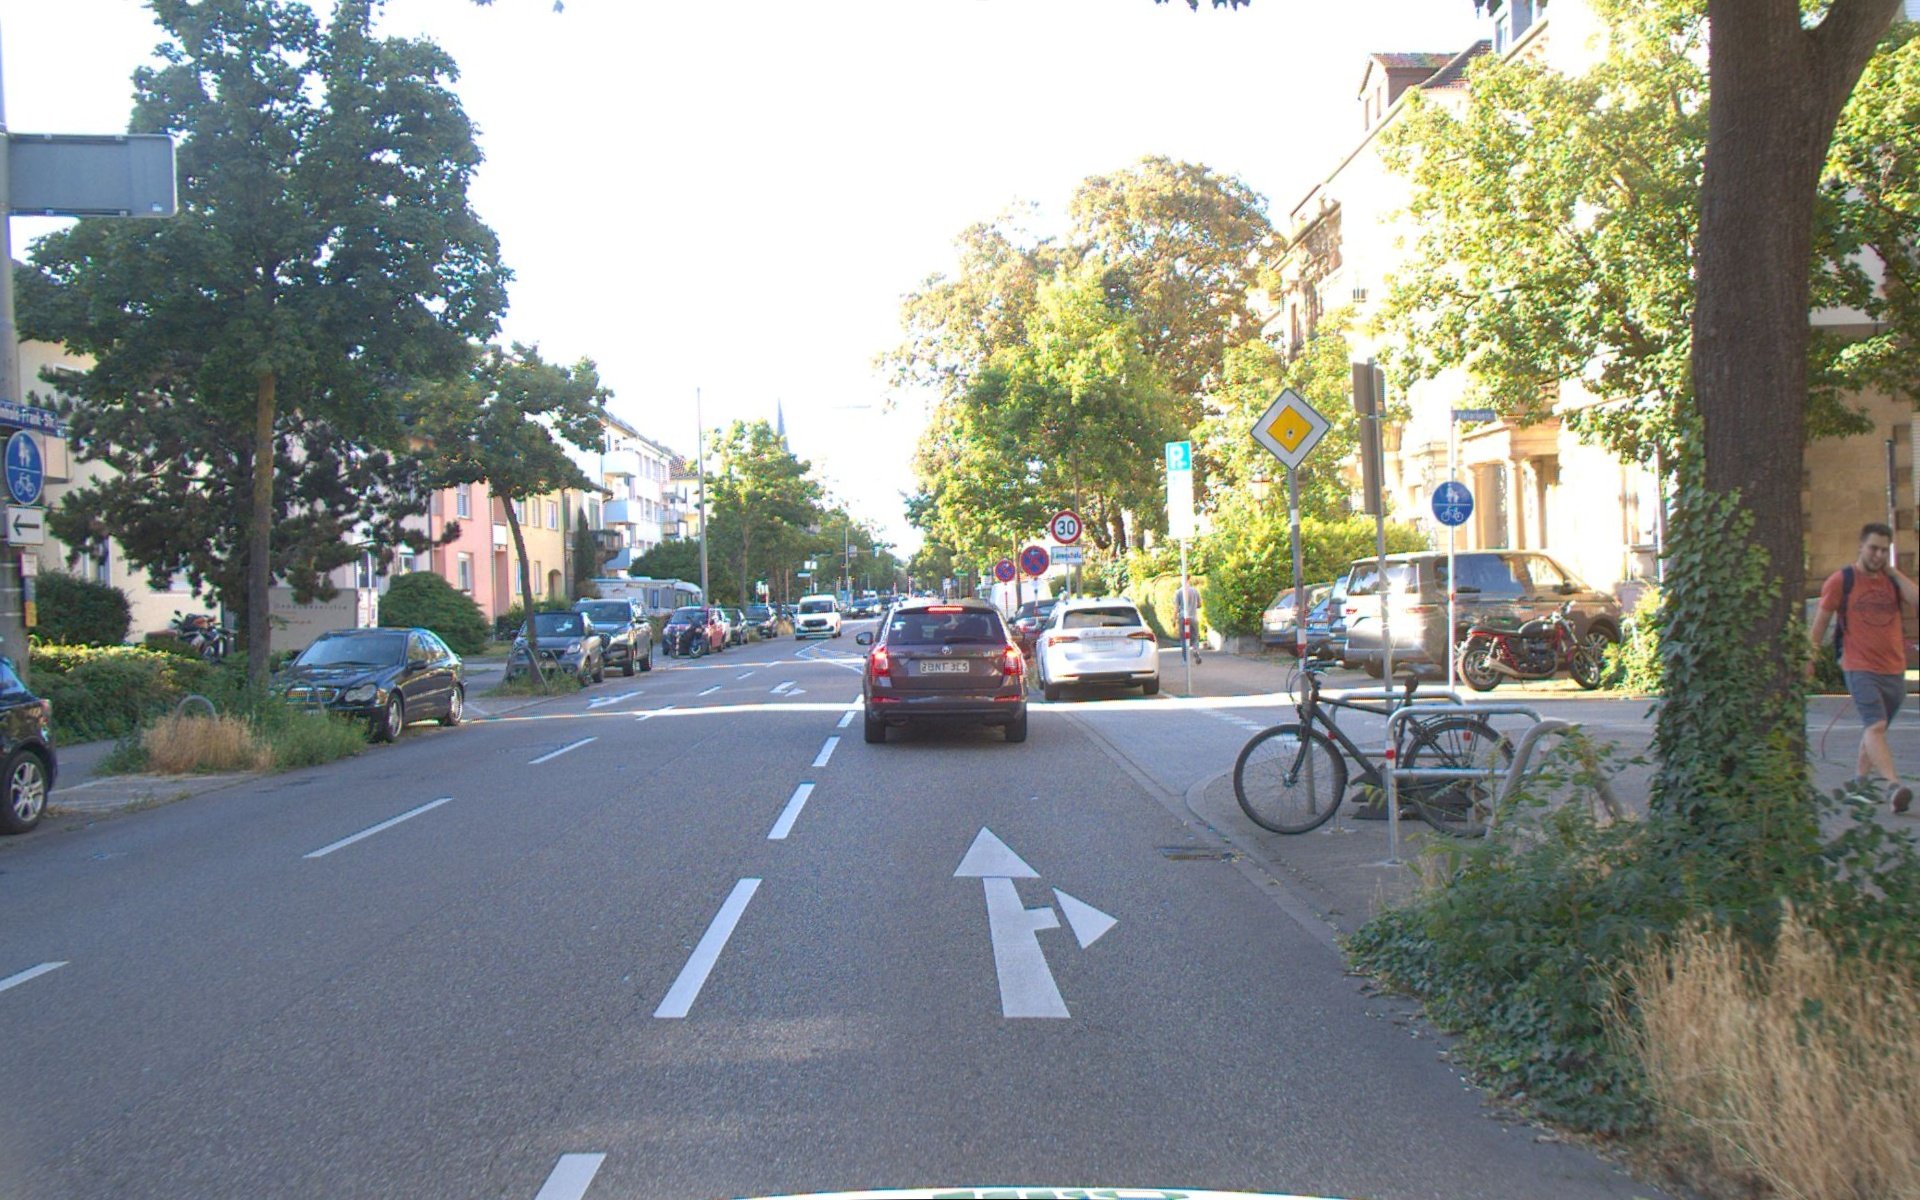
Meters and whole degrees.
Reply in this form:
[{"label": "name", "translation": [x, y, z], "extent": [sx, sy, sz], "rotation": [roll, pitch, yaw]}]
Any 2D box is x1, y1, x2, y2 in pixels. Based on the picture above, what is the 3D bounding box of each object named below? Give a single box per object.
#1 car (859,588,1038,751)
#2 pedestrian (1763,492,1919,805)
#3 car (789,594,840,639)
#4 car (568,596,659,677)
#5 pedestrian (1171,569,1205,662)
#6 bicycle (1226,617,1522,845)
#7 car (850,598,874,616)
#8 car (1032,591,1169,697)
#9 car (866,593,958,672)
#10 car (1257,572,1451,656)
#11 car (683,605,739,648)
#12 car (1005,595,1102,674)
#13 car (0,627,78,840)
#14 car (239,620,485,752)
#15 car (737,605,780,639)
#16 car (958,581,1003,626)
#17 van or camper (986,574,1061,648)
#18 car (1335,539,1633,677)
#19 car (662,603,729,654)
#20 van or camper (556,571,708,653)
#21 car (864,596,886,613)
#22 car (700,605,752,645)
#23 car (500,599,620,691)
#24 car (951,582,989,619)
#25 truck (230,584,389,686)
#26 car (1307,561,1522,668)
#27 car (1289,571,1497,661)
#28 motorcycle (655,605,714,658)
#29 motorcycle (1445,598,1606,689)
[{"label": "car", "translation": [-0.137, 0.665, 18.086], "extent": [1.694, 1.520, 3.950], "rotation": [-2, 1, -1]}, {"label": "pedestrian", "translation": [5.593, 0.277, 10.201], "extent": [0.741, 1.827, 0.905], "rotation": [-2, 0, -6]}, {"label": "car", "translation": [-6.216, 0.661, 70.991], "extent": [1.839, 1.788, 4.177], "rotation": [-2, 1, -2]}, {"label": "car", "translation": [-8.375, 0.848, 40.190], "extent": [1.476, 1.788, 3.692], "rotation": [-2, 1, -2]}, {"label": "pedestrian", "translation": [4.554, 0.310, 33.054], "extent": [0.524, 1.825, 0.687], "rotation": [-2, 0, 0]}, {"label": "bicycle", "translation": [2.511, 0.796, 10.150], "extent": [1.635, 1.247, 0.636], "rotation": [-4, 0, 11]}, {"label": "car", "translation": [-8.551, 0.617, 144.705], "extent": [1.953, 1.534, 3.999], "rotation": [-2, 0, -1]}, {"label": "car", "translation": [2.115, 0.625, 25.901], "extent": [1.783, 1.437, 4.111], "rotation": [-2, 1, 0]}, {"label": "car", "translation": [-1.072, 0.652, 35.412], "extent": [1.696, 1.520, 3.946], "rotation": [-2, 1, -5]}, {"label": "car", "translation": [8.138, 0.275, 34.147], "extent": [3.749, 1.552, 1.501], "rotation": [-2, 0, -24]}, {"label": "car", "translation": [-9.173, 0.950, 61.155], "extent": [1.631, 1.457, 3.274], "rotation": [-2, 1, -2]}, {"label": "car", "translation": [1.872, 0.666, 34.280], "extent": [1.783, 1.437, 4.111], "rotation": [-2, 1, 0]}, {"label": "car", "translation": [-7.868, 1.031, 11.063], "extent": [1.682, 1.523, 4.246], "rotation": [-2, 1, -1]}, {"label": "car", "translation": [-7.913, 1.077, 22.350], "extent": [1.718, 1.445, 4.425], "rotation": [-2, 1, -1]}, {"label": "car", "translation": [-9.350, 1.012, 76.969], "extent": [1.631, 1.457, 3.274], "rotation": [-2, 1, -2]}, {"label": "car", "translation": [0.861, 0.125, 73.069], "extent": [1.695, 1.846, 3.948], "rotation": [-2, 1, -3]}, {"label": "van or camper", "translation": [1.868, 0.295, 49.798], "extent": [1.953, 2.049, 3.999], "rotation": [-2, 1, -1]}, {"label": "car", "translation": [8.269, 0.083, 26.029], "extent": [4.484, 1.926, 1.896], "rotation": [-2, 0, -29]}, {"label": "car", "translation": [-8.831, 0.920, 55.475], "extent": [1.631, 1.538, 4.177], "rotation": [-2, 1, -2]}, {"label": "van or camper", "translation": [-17.086, 0.603, 86.472], "extent": [7.489, 3.942, 1.999], "rotation": [-2, 0, -4]}, {"label": "car", "translation": [-8.142, 0.434, 158.065], "extent": [1.953, 1.534, 3.999], "rotation": [-2, 0, -1]}, {"label": "car", "translation": [-9.255, 0.958, 65.698], "extent": [1.631, 1.457, 3.274], "rotation": [-2, 1, -2]}, {"label": "car", "translation": [-8.529, 0.916, 35.519], "extent": [1.715, 1.771, 3.590], "rotation": [-2, 1, -1]}, {"label": "car", "translation": [0.514, -0.001, 85.554], "extent": [1.695, 1.846, 3.948], "rotation": [-2, 1, -3]}, {"label": "truck", "translation": [-14.426, 0.747, 36.795], "extent": [2.855, 2.130, 1.545], "rotation": [-2, 0, -2]}, {"label": "car", "translation": [8.107, 0.224, 29.407], "extent": [3.762, 1.708, 1.496], "rotation": [-2, 1, -32]}, {"label": "car", "translation": [8.392, 0.290, 32.031], "extent": [3.749, 1.552, 1.501], "rotation": [-2, 0, -24]}, {"label": "motorcycle", "translation": [-8.422, 0.961, 50.560], "extent": [0.761, 1.538, 1.997], "rotation": [-2, 1, -44]}, {"label": "motorcycle", "translation": [7.661, 0.578, 22.429], "extent": [2.012, 1.144, 0.525], "rotation": [-2, 0, -7]}]
